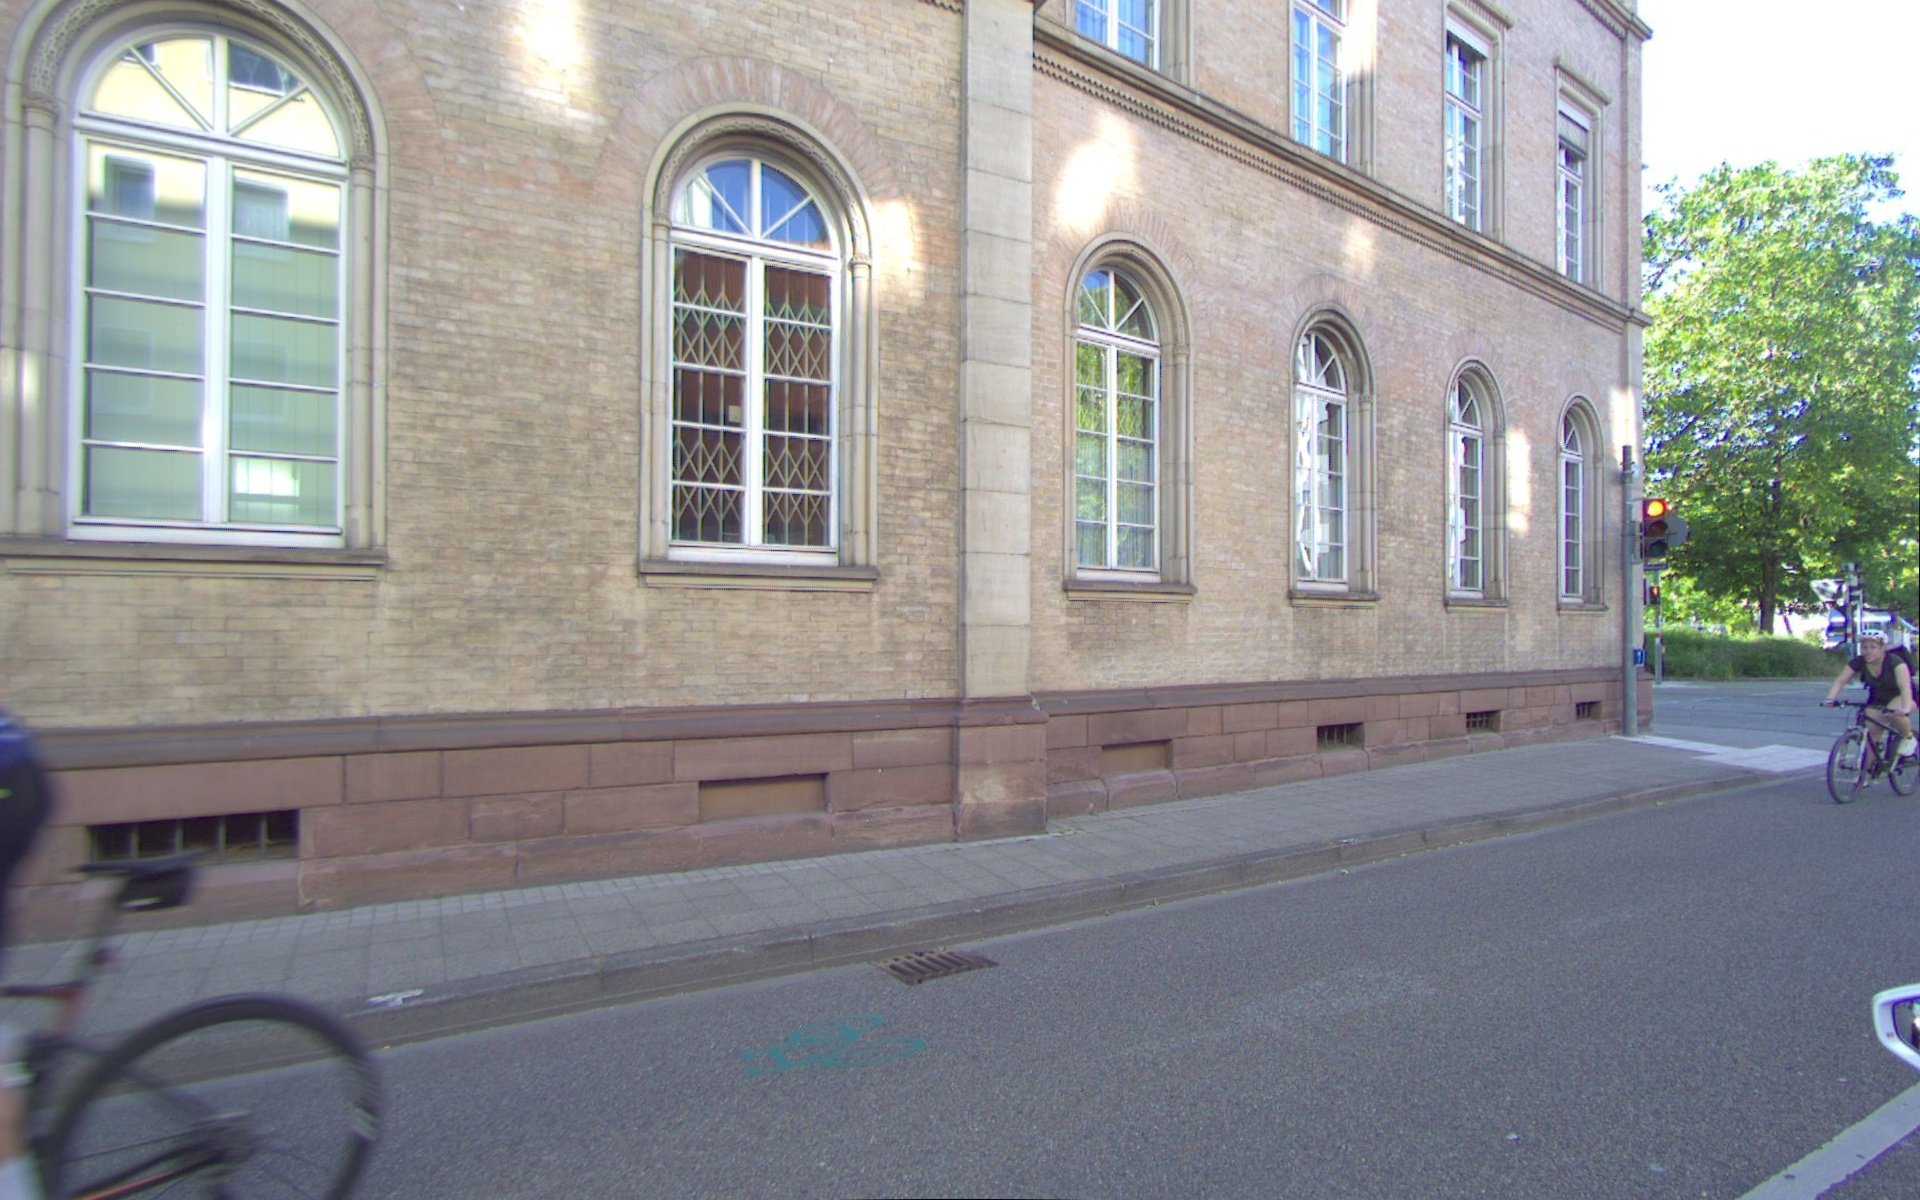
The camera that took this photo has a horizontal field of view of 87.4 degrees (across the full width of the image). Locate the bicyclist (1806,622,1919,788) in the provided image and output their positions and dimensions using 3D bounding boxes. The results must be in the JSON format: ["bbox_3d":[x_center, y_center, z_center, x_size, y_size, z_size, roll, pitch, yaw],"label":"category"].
[{"bbox_3d":[8.730,0.976,9.580,0.860,1.495,0.683,1,-4,-28],"label":"bicyclist"}]

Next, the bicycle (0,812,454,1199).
[{"bbox_3d":[-2.076,1.083,2.141,1.737,1.019,0.542,1,-4,-33],"label":"bicycle"}]

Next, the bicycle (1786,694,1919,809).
[{"bbox_3d":[8.724,1.401,9.574,1.745,0.936,0.683,1,-4,-29],"label":"bicycle"}]

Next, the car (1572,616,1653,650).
[{"bbox_3d":[47.845,2.469,73.722,2.056,2.423,4.521,2,-3,-38],"label":"car"}]

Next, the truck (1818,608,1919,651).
[{"bbox_3d":[53.770,1.672,59.069,2.069,2.431,4.790,1,-1,-39],"label":"truck"}]

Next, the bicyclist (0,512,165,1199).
[{"bbox_3d":[-2.242,0.614,2.067,0.860,1.553,0.542,1,-4,-32],"label":"bicyclist"}]
